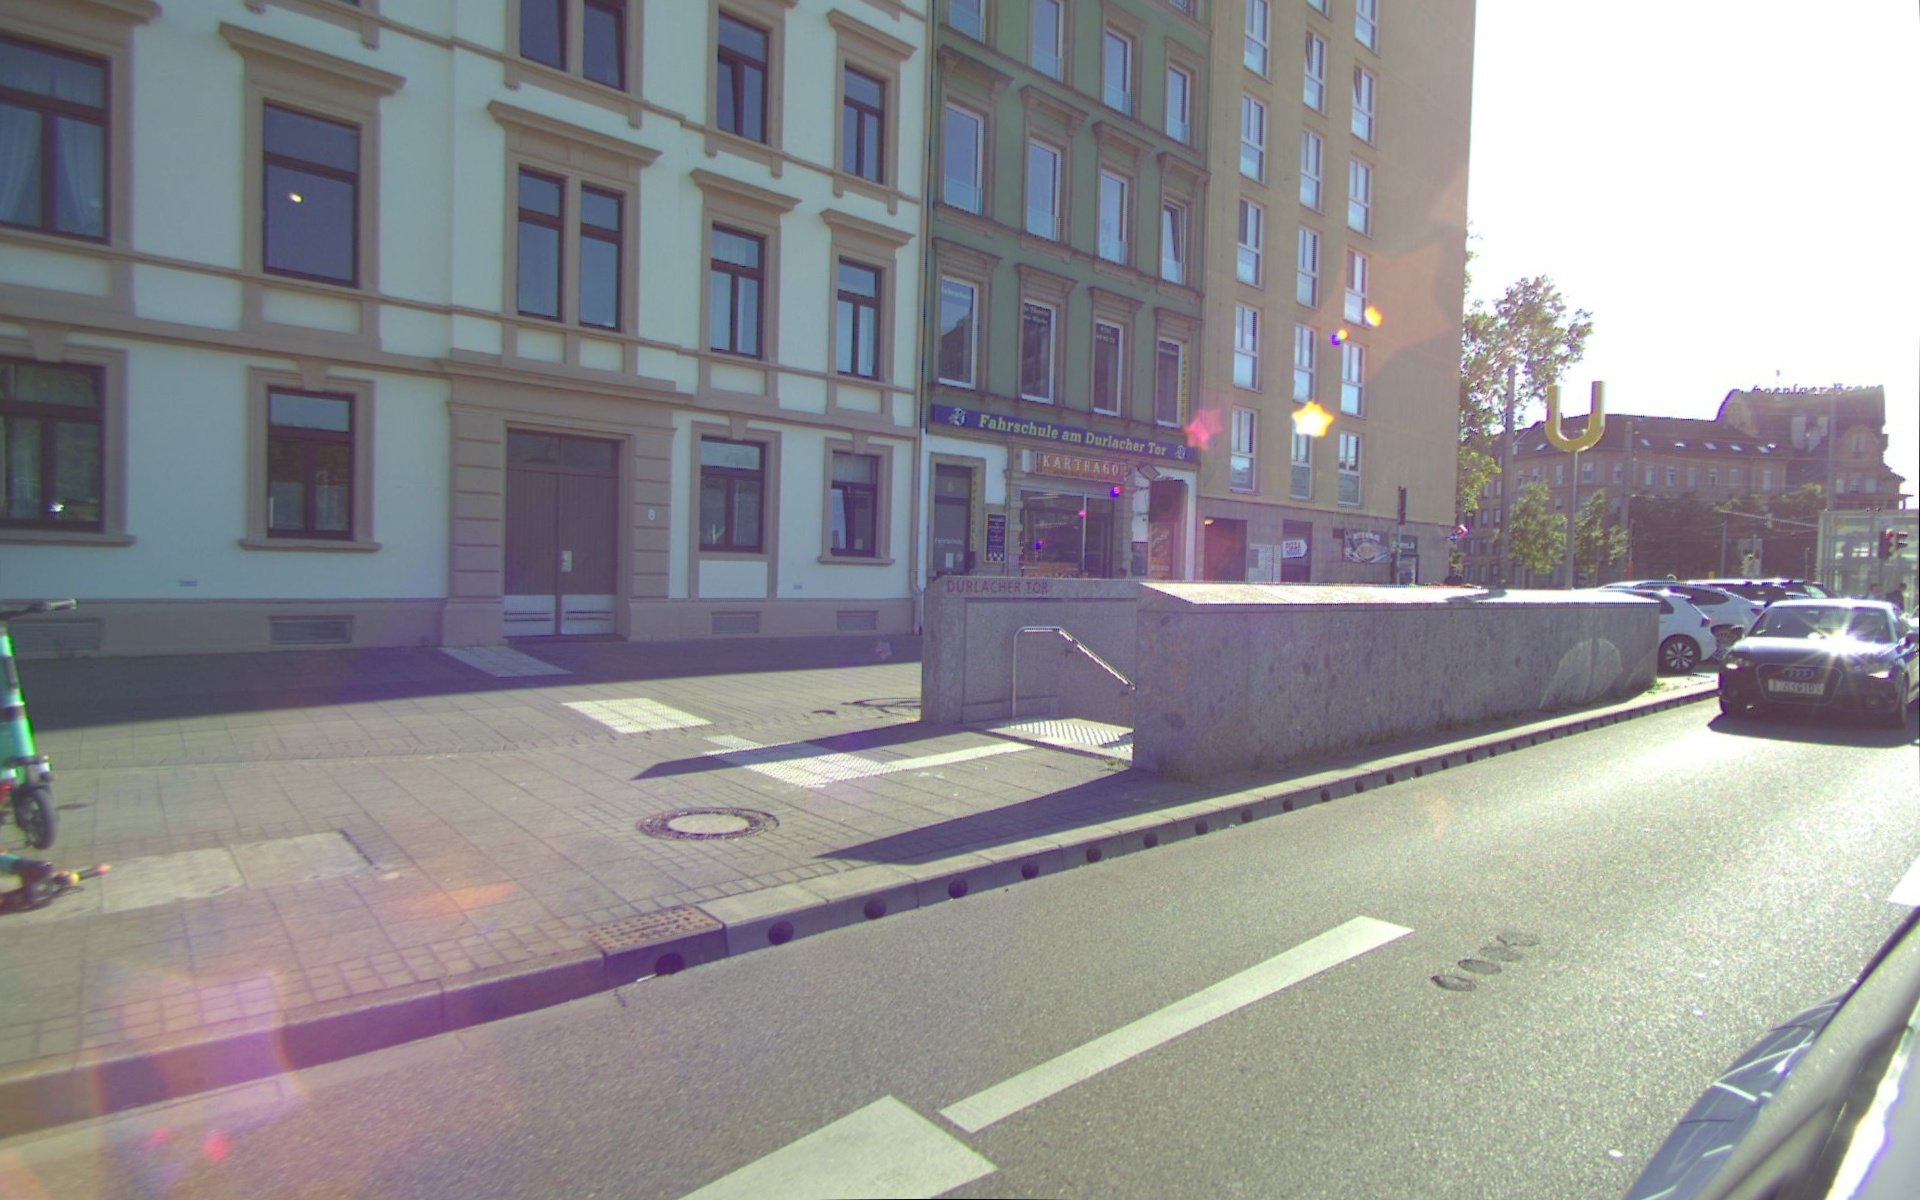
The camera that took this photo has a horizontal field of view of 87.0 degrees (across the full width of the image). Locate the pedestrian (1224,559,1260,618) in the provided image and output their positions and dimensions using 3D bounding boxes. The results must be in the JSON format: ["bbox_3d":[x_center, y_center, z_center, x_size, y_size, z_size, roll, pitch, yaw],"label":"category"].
[{"bbox_3d":[6.512,-0.278,23.378,0.580,1.335,0.517,0,2,-34],"label":"pedestrian"}]

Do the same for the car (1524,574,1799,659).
[{"bbox_3d":[14.290,0.291,20.843,4.177,1.590,1.957,1,1,6],"label":"car"}]

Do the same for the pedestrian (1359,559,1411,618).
[{"bbox_3d":[15.474,-0.438,36.831,1.244,2.038,1.036,4,1,-23],"label":"pedestrian"}]

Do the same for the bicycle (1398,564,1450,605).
[{"bbox_3d":[14.984,-0.509,32.674,2.260,1.263,0.658,-1,4,-43],"label":"bicycle"}]

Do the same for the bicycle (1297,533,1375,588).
[{"bbox_3d":[10.537,-1.098,28.332,2.187,1.374,0.933,3,1,-37],"label":"bicycle"}]

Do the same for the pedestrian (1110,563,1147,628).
[{"bbox_3d":[3.556,-0.097,21.395,0.515,1.335,0.583,3,2,42],"label":"pedestrian"}]

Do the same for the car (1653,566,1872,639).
[{"bbox_3d":[21.634,0.033,27.465,4.181,1.837,1.956,1,1,9],"label":"car"}]

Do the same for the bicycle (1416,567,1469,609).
[{"bbox_3d":[15.190,-0.385,31.857,2.260,1.263,0.659,-1,4,-43],"label":"bicycle"}]

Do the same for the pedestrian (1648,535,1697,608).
[{"bbox_3d":[18.853,-0.760,26.802,0.740,1.889,0.697,2,2,8],"label":"pedestrian"}]

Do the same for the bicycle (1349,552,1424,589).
[{"bbox_3d":[15.520,-1.067,36.833,2.478,1.137,1.036,4,1,-23],"label":"bicycle"}]

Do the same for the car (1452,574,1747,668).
[{"bbox_3d":[11.525,0.320,18.539,4.045,1.482,1.958,2,2,9],"label":"car"}]

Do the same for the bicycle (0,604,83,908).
[{"bbox_3d":[-4.194,0.609,3.463,0.465,1.161,1.755,2,1,26],"label":"bicycle"}]

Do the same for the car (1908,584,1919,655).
[{"bbox_3d":[21.680,0.364,21.468,4.380,1.405,1.824,-2,2,-40],"label":"car"}]

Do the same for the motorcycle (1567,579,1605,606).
[{"bbox_3d":[26.208,-0.326,42.379,1.774,1.059,0.879,-2,5,-43],"label":"motorcycle"}]

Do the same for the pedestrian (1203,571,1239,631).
[{"bbox_3d":[5.936,0.022,23.007,0.580,1.335,0.517,0,2,-34],"label":"pedestrian"}]

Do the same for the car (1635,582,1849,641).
[{"bbox_3d":[19.426,0.263,25.283,3.825,1.417,1.786,0,1,6],"label":"car"}]

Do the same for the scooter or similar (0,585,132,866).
[{"bbox_3d":[-4.763,0.555,4.934,1.195,1.231,0.638,1,2,23],"label":"scooter or similar"}]

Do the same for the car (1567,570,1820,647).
[{"bbox_3d":[16.540,0.159,23.023,4.178,1.617,1.957,1,1,7],"label":"car"}]

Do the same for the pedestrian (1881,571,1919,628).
[{"bbox_3d":[29.975,-0.023,32.070,0.784,1.749,0.865,2,2,18],"label":"pedestrian"}]

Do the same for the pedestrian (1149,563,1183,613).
[{"bbox_3d":[4.910,-0.294,24.124,0.580,1.174,0.517,0,2,-34],"label":"pedestrian"}]

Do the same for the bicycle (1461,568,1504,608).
[{"bbox_3d":[17.395,-0.419,33.688,1.869,1.263,0.658,-1,4,-44],"label":"bicycle"}]

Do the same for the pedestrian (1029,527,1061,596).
[{"bbox_3d":[2.163,-0.972,25.721,0.580,1.732,0.517,0,2,-28],"label":"pedestrian"}]

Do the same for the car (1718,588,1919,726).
[{"bbox_3d":[10.938,0.577,12.527,3.764,1.405,1.694,-1,2,-41],"label":"car"}]

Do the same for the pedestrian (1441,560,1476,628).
[{"bbox_3d":[14.386,-0.188,29.219,0.744,1.889,0.826,2,2,20],"label":"pedestrian"}]

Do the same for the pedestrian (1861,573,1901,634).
[{"bbox_3d":[27.348,0.099,30.054,0.693,1.749,0.744,3,2,33],"label":"pedestrian"}]
